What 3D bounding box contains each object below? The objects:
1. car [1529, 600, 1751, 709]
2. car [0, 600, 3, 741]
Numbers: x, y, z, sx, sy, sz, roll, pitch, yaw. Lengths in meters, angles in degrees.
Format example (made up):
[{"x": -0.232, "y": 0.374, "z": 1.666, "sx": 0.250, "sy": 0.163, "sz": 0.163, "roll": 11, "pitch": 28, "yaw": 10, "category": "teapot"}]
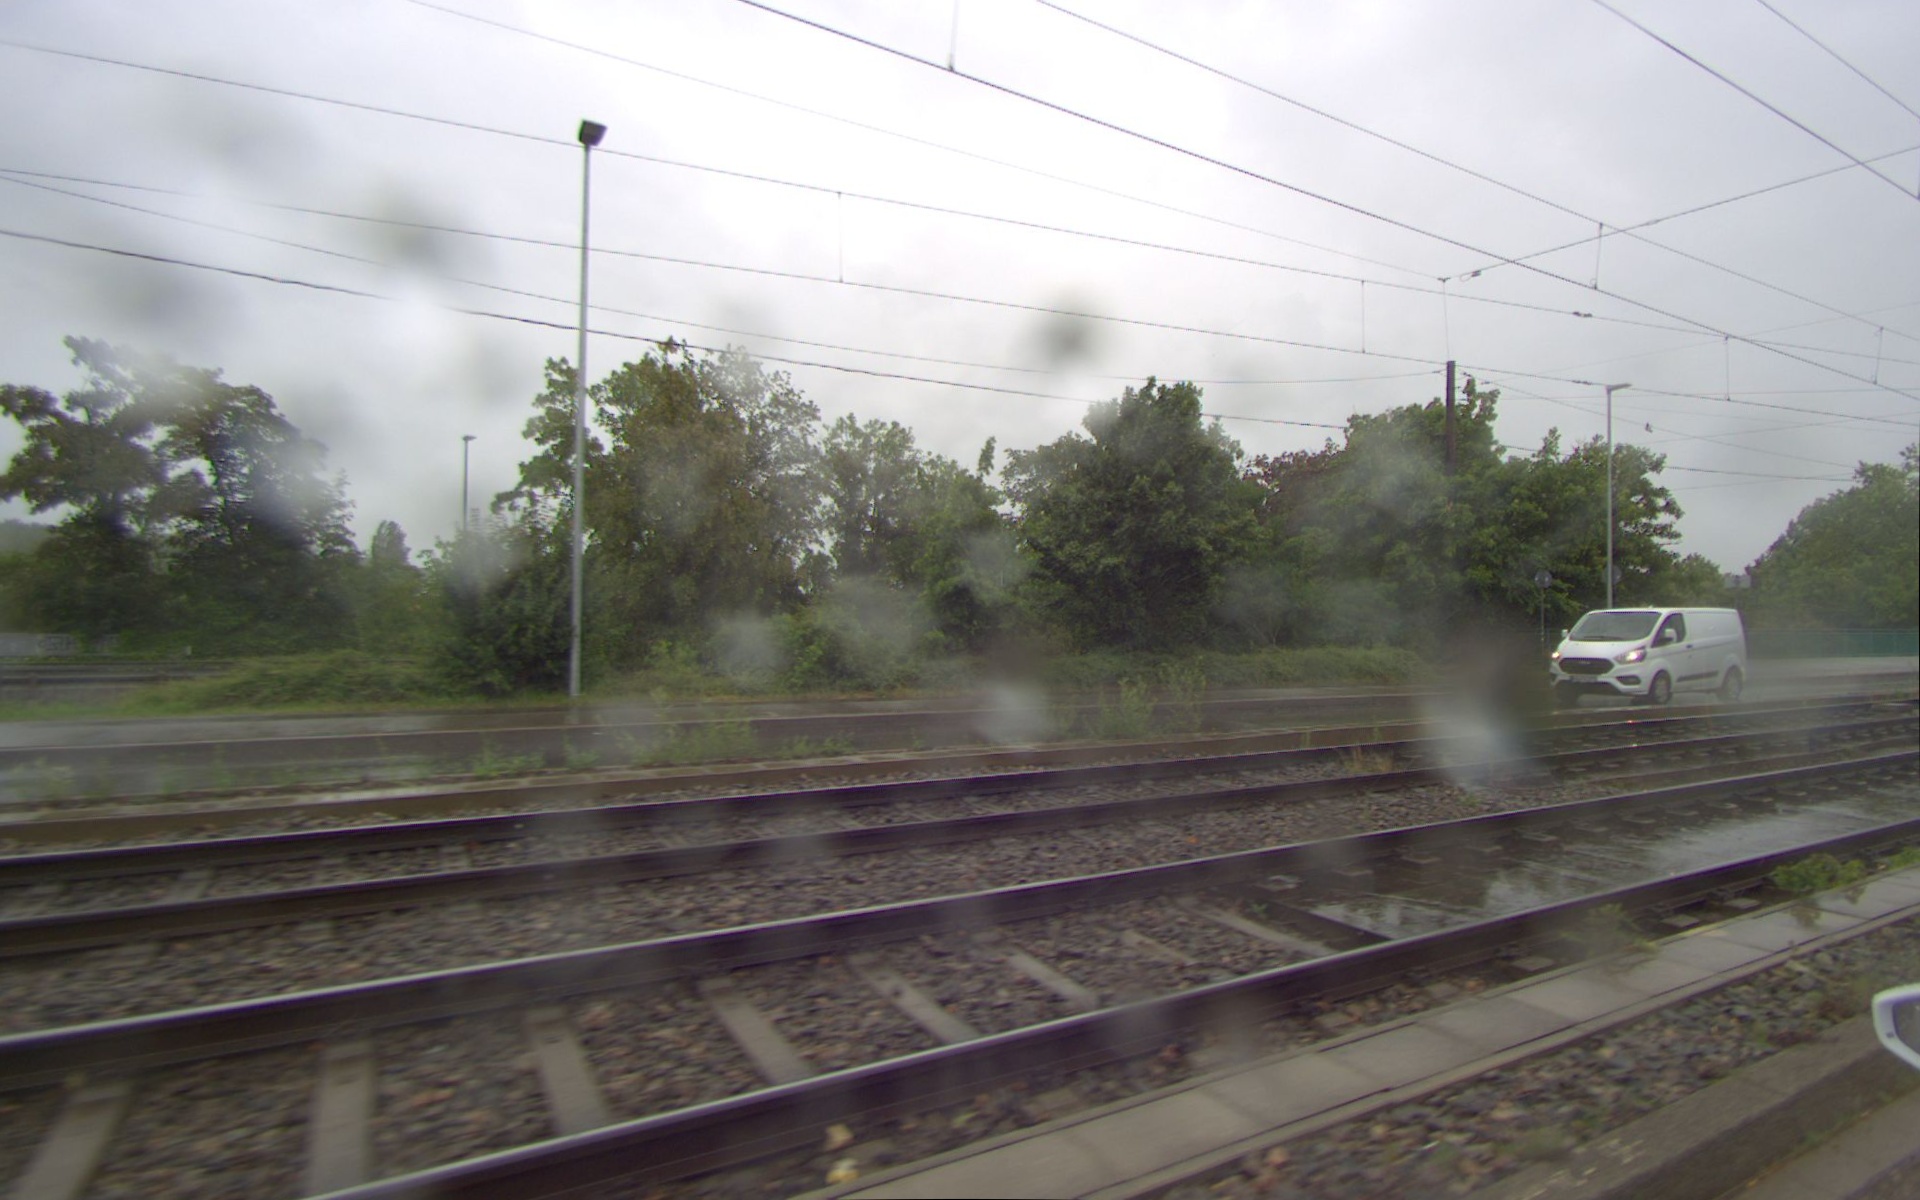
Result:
[{"x": 14.572, "y": 1.096, "z": 21.452, "sx": 4.970, "sy": 2.071, "sz": 1.983, "roll": 1, "pitch": 0, "yaw": -31, "category": "car"}, {"x": -9.948, "y": 0.777, "z": 7.575, "sx": 3.609, "sy": 1.622, "sz": 1.715, "roll": 2, "pitch": 0, "yaw": -31, "category": "car"}]
